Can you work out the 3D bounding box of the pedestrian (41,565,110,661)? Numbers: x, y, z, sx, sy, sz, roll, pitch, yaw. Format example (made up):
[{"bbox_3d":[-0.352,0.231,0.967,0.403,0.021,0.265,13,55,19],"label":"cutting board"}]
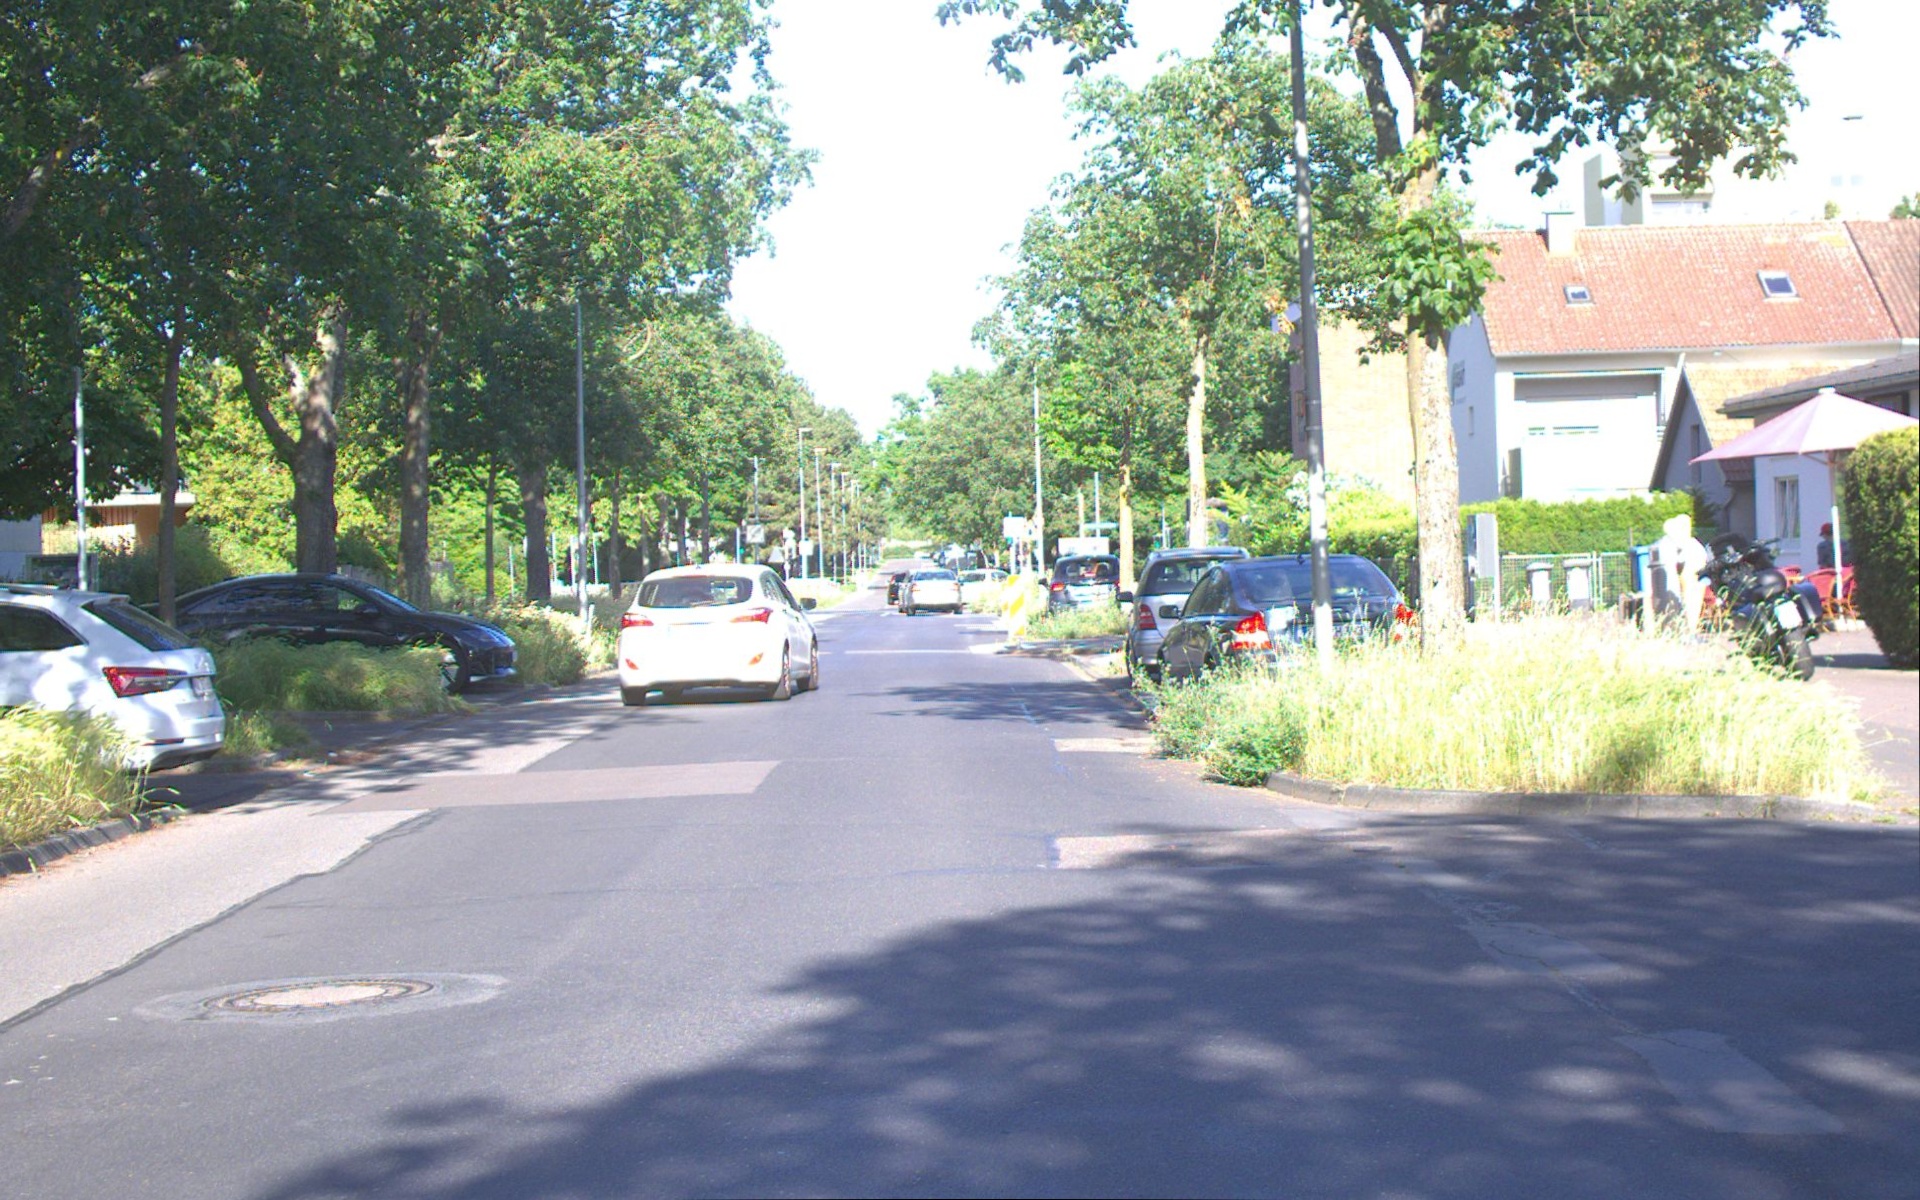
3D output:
[{"bbox_3d":[-17.094,0.249,66.422,1.224,1.821,1.551,0,0,-17],"label":"pedestrian"}]

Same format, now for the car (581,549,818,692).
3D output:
[{"bbox_3d":[-2.808,0.183,37.992,1.994,1.450,4.224,-1,1,4],"label":"car"}]

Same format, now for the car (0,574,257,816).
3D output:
[{"bbox_3d":[-7.212,0.619,22.751,4.671,1.498,2.000,-1,1,1],"label":"car"}]

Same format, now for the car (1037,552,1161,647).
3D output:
[{"bbox_3d":[2.694,-0.007,67.627,1.993,1.722,4.000,-3,0,-3],"label":"car"}]

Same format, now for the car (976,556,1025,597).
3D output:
[{"bbox_3d":[1.548,-0.901,132.745,1.733,1.503,3.658,2,0,-1],"label":"car"}]

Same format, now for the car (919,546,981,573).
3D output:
[{"bbox_3d":[-0.698,-2.696,228.336,3.986,1.744,2.000,-1,1,-3],"label":"car"}]

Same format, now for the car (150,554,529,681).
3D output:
[{"bbox_3d":[-7.593,0.208,42.369,4.367,1.526,1.808,0,0,-1],"label":"car"}]

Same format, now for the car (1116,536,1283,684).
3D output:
[{"bbox_3d":[2.792,0.099,40.793,1.610,1.616,4.382,2,0,0],"label":"car"}]

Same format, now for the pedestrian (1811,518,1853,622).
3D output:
[{"bbox_3d":[11.677,-0.399,46.030,0.439,1.380,0.639,0,0,5],"label":"pedestrian"}]

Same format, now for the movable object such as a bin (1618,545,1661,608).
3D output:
[{"bbox_3d":[11.425,-0.392,57.804,0.493,1.028,0.747,-4,0,0],"label":"movable object such as a bin"}]

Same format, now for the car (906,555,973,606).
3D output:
[{"bbox_3d":[-0.652,-0.604,107.530,1.993,1.503,3.658,2,0,-1],"label":"car"}]

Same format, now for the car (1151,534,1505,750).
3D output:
[{"bbox_3d":[2.980,0.310,28.838,1.993,1.616,4.382,2,0,-7],"label":"car"}]

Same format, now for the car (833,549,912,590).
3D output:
[{"bbox_3d":[-4.468,-1.544,175.182,3.986,2.007,2.000,0,-1,-2],"label":"car"}]

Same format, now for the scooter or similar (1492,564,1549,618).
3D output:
[{"bbox_3d":[9.110,-0.149,55.885,0.368,0.855,1.412,-1,1,-14],"label":"scooter or similar"}]

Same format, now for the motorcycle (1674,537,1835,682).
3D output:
[{"bbox_3d":[7.168,0.066,31.126,0.818,1.223,2.352,-3,1,-1],"label":"motorcycle"}]
